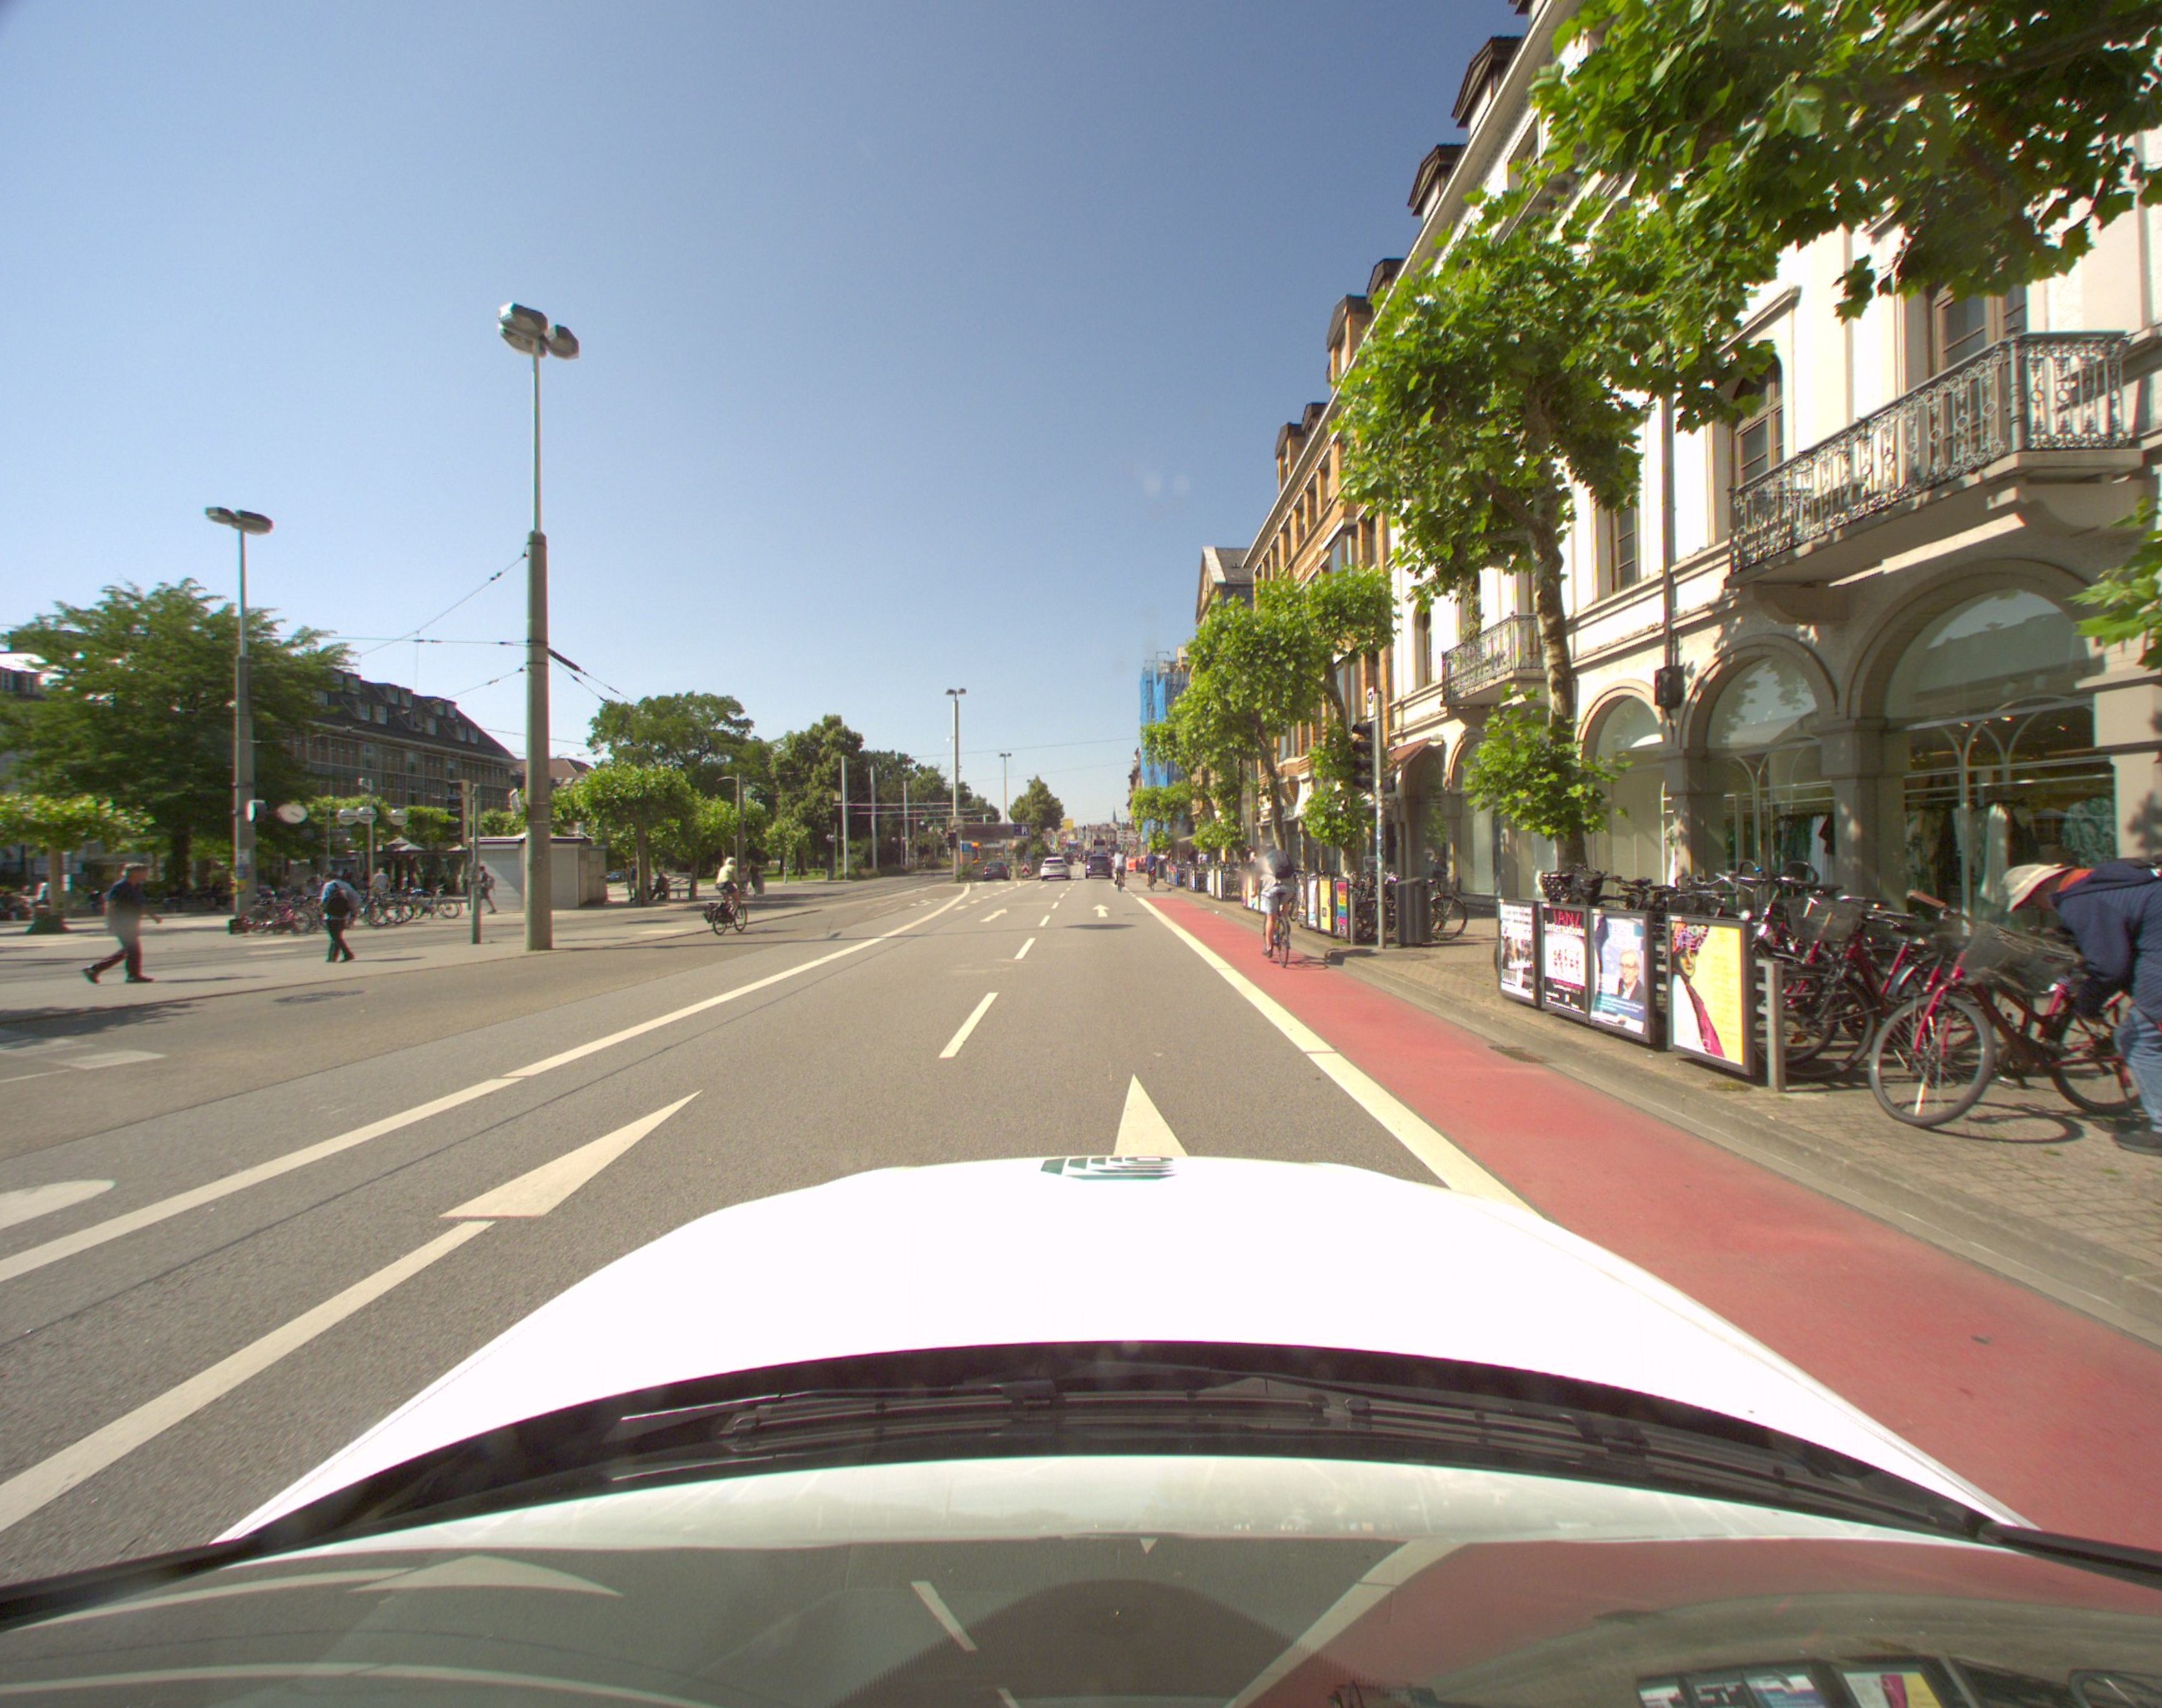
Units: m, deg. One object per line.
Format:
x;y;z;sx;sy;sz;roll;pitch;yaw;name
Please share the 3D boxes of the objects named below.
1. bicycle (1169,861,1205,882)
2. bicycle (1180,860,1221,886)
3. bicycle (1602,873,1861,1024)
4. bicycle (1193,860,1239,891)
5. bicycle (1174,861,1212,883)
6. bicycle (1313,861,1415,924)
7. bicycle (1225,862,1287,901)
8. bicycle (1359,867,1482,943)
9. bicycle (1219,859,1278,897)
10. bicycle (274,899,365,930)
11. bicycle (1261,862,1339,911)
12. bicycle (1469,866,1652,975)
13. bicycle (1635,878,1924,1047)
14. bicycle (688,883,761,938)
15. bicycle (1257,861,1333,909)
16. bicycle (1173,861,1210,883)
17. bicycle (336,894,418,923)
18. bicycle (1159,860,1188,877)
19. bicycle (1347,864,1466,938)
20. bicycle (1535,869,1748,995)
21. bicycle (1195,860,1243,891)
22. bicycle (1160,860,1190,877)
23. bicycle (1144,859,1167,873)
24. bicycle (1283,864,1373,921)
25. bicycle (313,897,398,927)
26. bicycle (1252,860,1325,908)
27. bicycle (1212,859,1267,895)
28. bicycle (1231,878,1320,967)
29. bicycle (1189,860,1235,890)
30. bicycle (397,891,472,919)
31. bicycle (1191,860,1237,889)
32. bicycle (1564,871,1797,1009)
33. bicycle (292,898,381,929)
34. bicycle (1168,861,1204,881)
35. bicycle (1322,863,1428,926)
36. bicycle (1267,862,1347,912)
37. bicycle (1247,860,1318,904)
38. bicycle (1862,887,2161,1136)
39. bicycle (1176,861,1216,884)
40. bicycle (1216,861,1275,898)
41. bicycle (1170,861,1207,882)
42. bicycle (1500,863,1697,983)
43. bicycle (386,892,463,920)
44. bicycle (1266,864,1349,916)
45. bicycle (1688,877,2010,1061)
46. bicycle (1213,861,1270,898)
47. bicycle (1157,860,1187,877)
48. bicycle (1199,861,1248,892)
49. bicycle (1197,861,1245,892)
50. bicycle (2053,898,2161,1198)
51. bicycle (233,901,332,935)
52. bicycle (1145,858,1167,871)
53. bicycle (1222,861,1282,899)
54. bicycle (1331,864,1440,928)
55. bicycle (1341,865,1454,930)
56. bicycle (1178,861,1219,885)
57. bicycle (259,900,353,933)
5.306;0.861;40.807;1.748;1.018;0.482;-1;0;-2;bicycle
5.319;0.848;36.335;1.748;1.147;0.482;-1;0;-2;bicycle
5.269;0.743;6.638;1.748;1.147;0.482;-1;0;-2;bicycle
5.297;0.839;31.980;1.748;1.147;0.482;-1;0;-2;bicycle
5.282;0.855;38.488;1.712;0.985;0.482;-1;0;-2;bicycle
5.342;0.717;15.399;1.748;1.147;0.482;-1;0;-2;bicycle
5.238;0.816;24.394;1.748;1.147;0.499;-1;0;-2;bicycle
5.336;0.791;12.834;1.748;1.147;0.482;-1;0;-2;bicycle
5.243;0.750;25.499;1.748;1.147;0.482;-1;0;-2;bicycle
-21.799;1.733;23.348;1.866;0.856;0.544;1;0;-13;bicycle
5.302;0.775;19.729;1.748;1.147;0.482;-1;0;-2;bicycle
5.341;0.726;9.114;1.769;1.147;0.482;-1;0;-2;bicycle
5.118;0.771;6.009;1.748;1.147;0.482;-1;0;-2;bicycle
-8.409;1.306;19.300;0.815;1.120;1.874;-4;0;1;bicycle
5.317;0.762;20.270;1.748;1.147;0.482;-1;0;-2;bicycle
5.311;0.858;39.191;1.748;1.018;0.482;-1;0;-2;bicycle
-21.928;1.695;25.387;1.866;0.869;0.579;1;0;-13;bicycle
5.634;0.885;49.610;1.748;1.018;0.482;-1;0;-2;bicycle
5.320;0.759;13.344;1.748;1.147;0.482;-1;0;-2;bicycle
5.409;0.732;7.901;1.748;1.147;0.482;-1;0;-2;bicycle
5.318;0.818;31.483;1.748;1.147;0.482;-1;-1;-2;bicycle
5.640;0.883;49.093;1.748;1.018;0.482;-1;0;-2;bicycle
5.811;0.915;63.254;1.748;1.018;0.482;-1;0;-2;bicycle
5.193;0.798;17.151;1.748;1.147;0.482;-1;0;-2;bicycle
-21.804;1.736;24.502;1.866;0.856;0.544;1;0;-13;bicycle
5.323;0.761;20.927;1.748;1.187;0.482;-1;0;-2;bicycle
5.247;0.767;27.009;1.748;1.147;0.482;-1;0;-2;bicycle
2.729;0.929;11.667;0.732;1.093;2.130;1;0;-1;bicycle
5.295;0.842;32.971;1.748;1.147;0.482;-1;0;-2;bicycle
-21.604;1.704;27.239;1.866;0.869;0.579;1;0;-13;bicycle
5.304;0.815;32.470;1.748;1.147;0.482;-1;0;-2;bicycle
5.330;0.745;7.278;1.748;1.147;0.482;-1;0;-2;bicycle
-21.850;1.745;23.922;1.866;0.856;0.544;1;0;-13;bicycle
5.315;0.864;41.394;1.748;1.018;0.482;-1;0;-2;bicycle
5.358;0.727;14.875;1.748;1.105;0.482;-1;0;-2;bicycle
5.308;0.767;19.176;1.748;1.147;0.527;-1;0;-2;bicycle
5.307;0.726;21.504;1.748;1.123;0.482;-1;0;-2;bicycle
5.202;0.767;4.234;1.748;1.147;0.592;-1;0;-2;bicycle
5.311;0.851;37.719;1.748;1.018;0.482;-1;0;-2;bicycle
5.241;0.820;25.991;1.748;1.147;0.482;-1;0;-2;bicycle
5.310;0.859;40.244;1.748;1.018;0.482;-1;0;-2;bicycle
5.428;0.705;8.583;1.794;1.194;0.482;-1;0;-2;bicycle
-21.486;1.705;26.676;1.866;0.869;0.579;1;0;-13;bicycle
5.175;0.807;18.639;1.748;1.147;0.482;-1;0;-2;bicycle
5.135;0.744;5.490;1.748;1.147;0.482;-1;0;-2;bicycle
5.225;0.821;26.499;1.748;1.147;0.482;-1;0;-2;bicycle
5.662;0.892;50.781;1.748;1.018;0.557;-1;0;-2;bicycle
5.325;0.836;30.498;1.748;1.147;0.482;-1;0;-2;bicycle
5.324;0.837;30.983;1.748;1.147;0.482;-1;0;-2;bicycle
5.089;0.760;3.255;1.748;1.147;0.592;-1;0;-2;bicycle
-21.726;1.744;22.197;1.866;0.872;0.581;1;0;-13;bicycle
6.008;0.849;65.219;1.748;1.018;0.482;-1;0;-2;bicycle
5.239;0.789;24.980;1.748;1.147;0.482;-1;0;-2;bicycle
5.361;0.732;14.372;1.748;1.087;0.482;-1;0;-2;bicycle
5.375;0.727;13.876;1.748;1.068;0.482;-1;0;-2;bicycle
5.321;0.860;36.946;1.748;1.018;0.482;-1;0;-2;bicycle
-21.671;1.739;22.803;1.866;0.856;0.544;1;0;-13;bicycle
